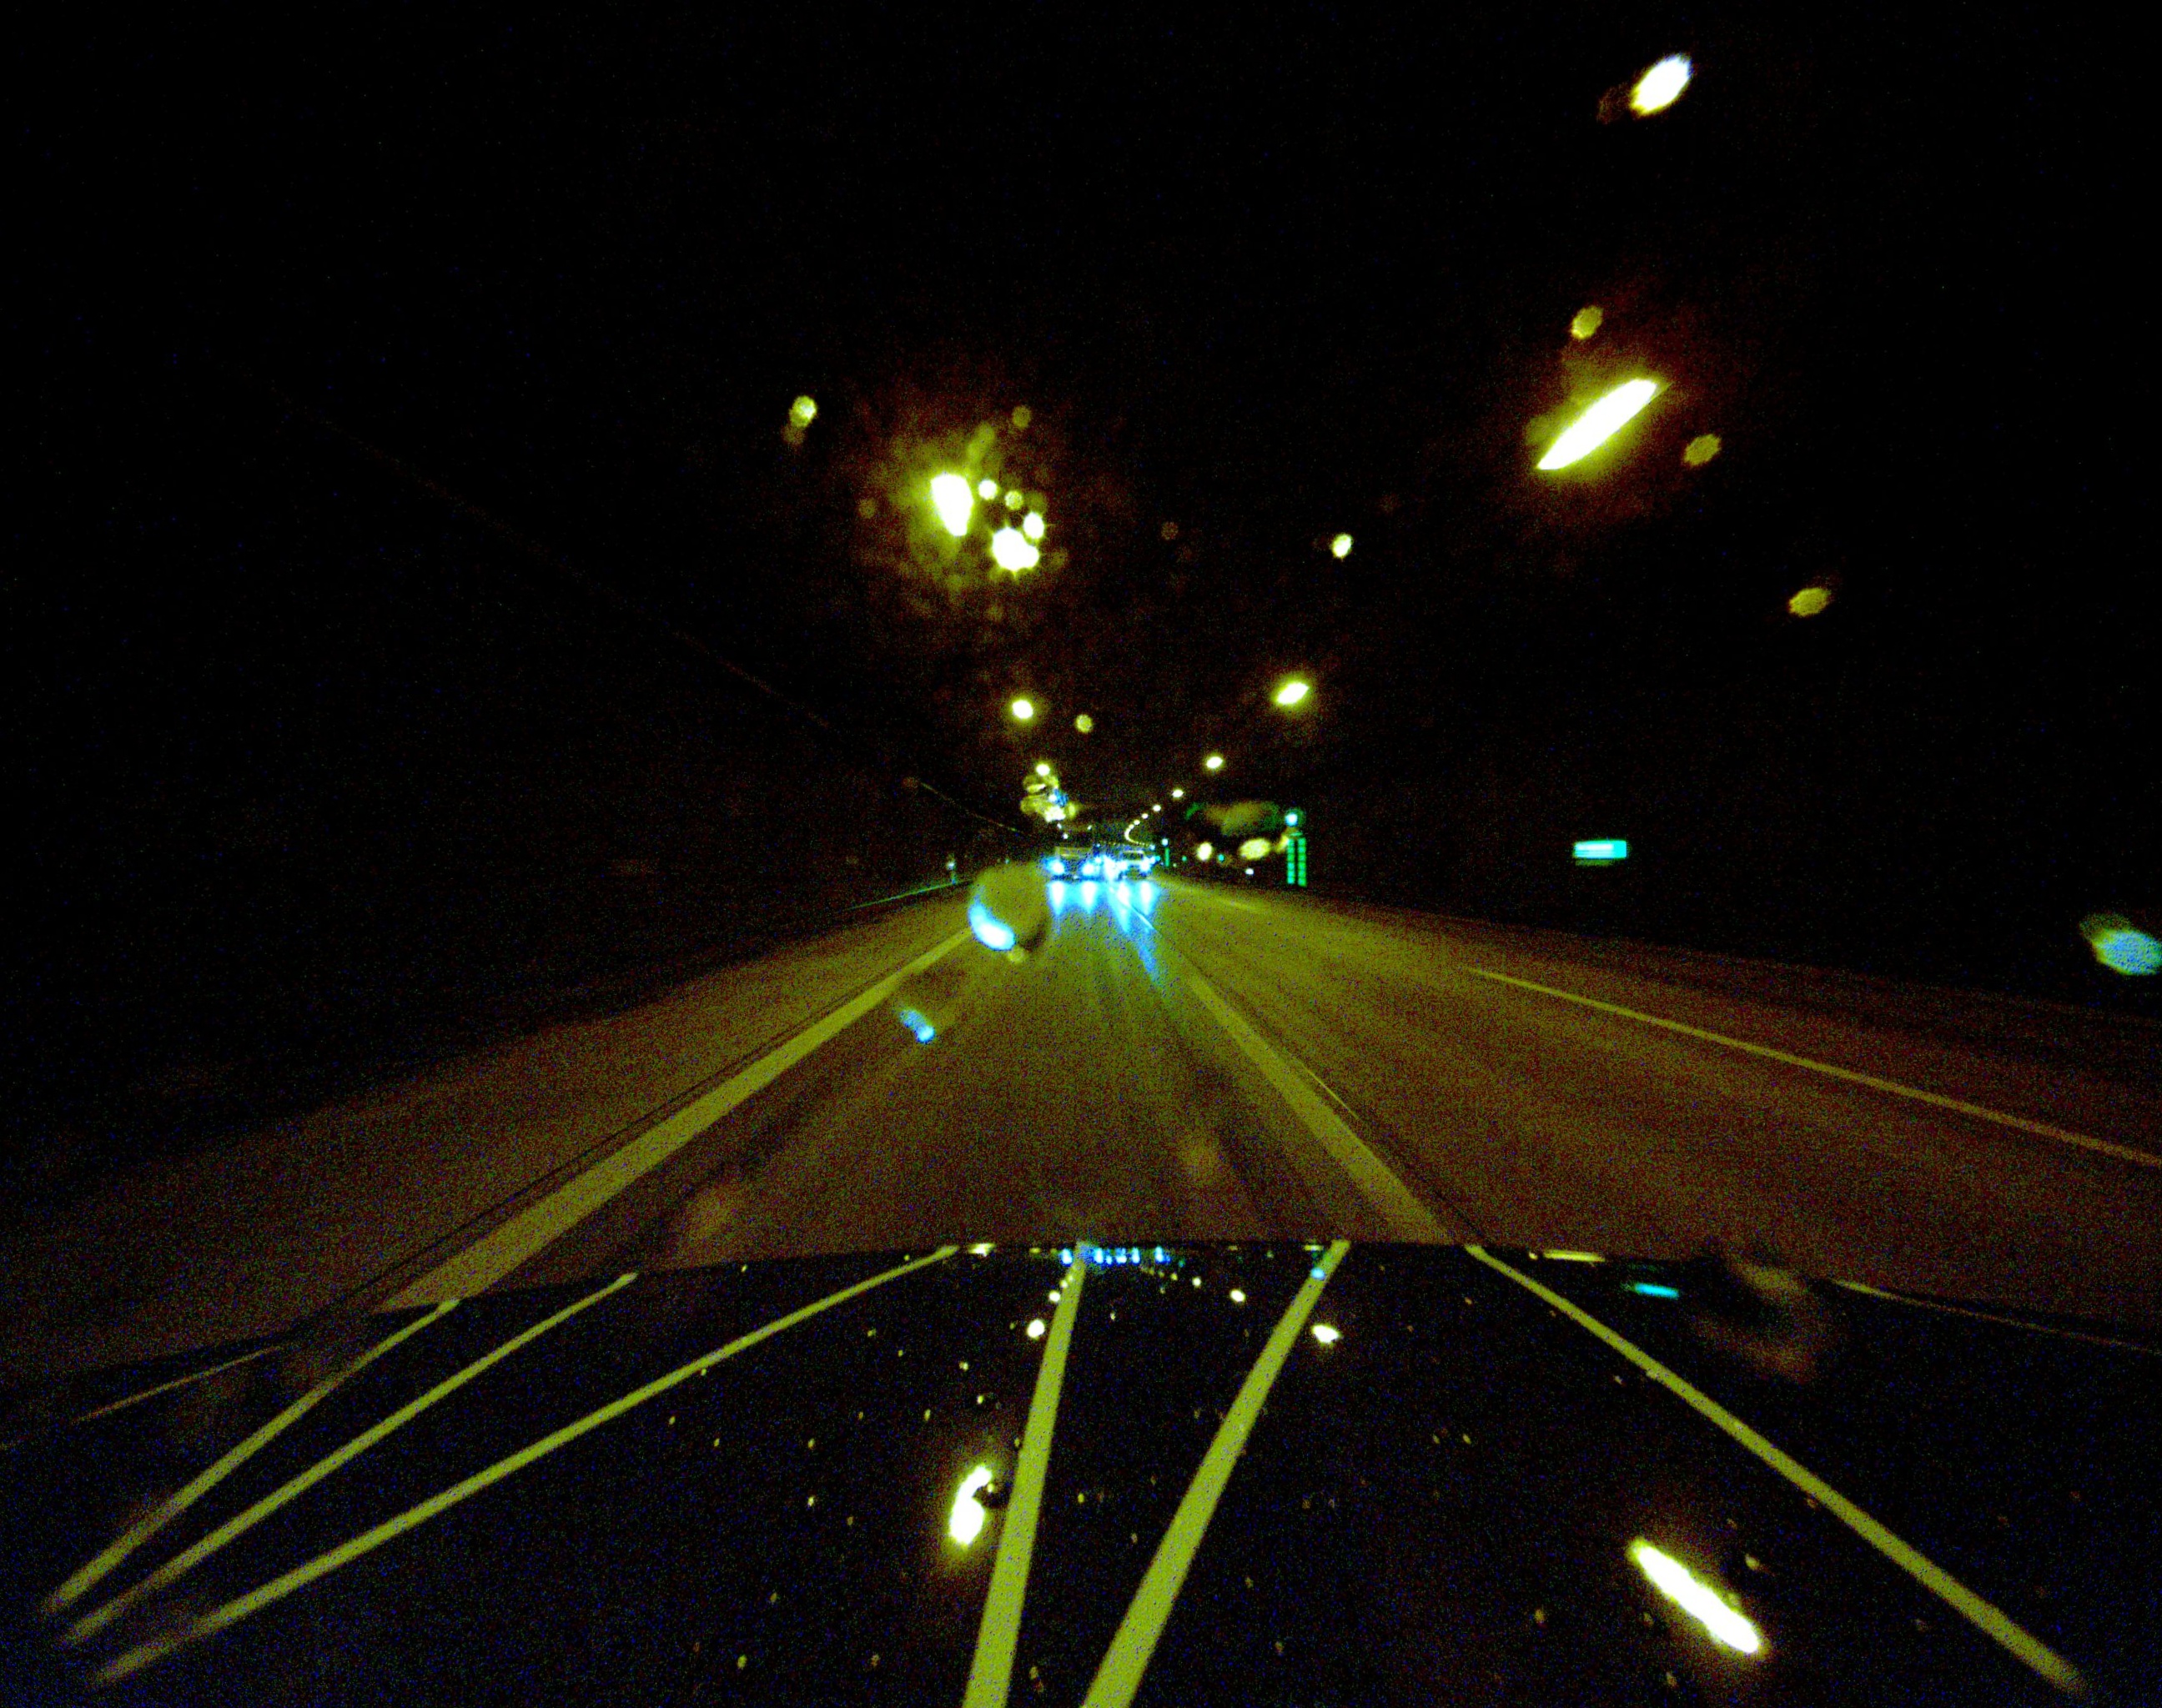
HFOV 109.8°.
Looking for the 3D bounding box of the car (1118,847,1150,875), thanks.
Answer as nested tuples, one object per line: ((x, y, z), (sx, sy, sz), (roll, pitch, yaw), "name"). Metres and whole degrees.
((3.722, 0.463, 53.860), (1.998, 1.890, 4.000), (0, 0, 0), "car")

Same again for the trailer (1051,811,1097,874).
((-0.729, -0.792, 57.076), (2.628, 4.139, 13.995), (0, 0, -4), "trailer")

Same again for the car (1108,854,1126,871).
((4.244, 0.999, 90.200), (1.998, 1.890, 4.000), (-3, 0, 3), "car")

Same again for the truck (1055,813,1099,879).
((-0.348, -0.530, 50.675), (2.654, 4.139, 6.002), (1, 1, -3), "truck")

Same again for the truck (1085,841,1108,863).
((2.787, -0.374, 132.965), (2.899, 3.819, 9.002), (1, 1, 9), "truck")
